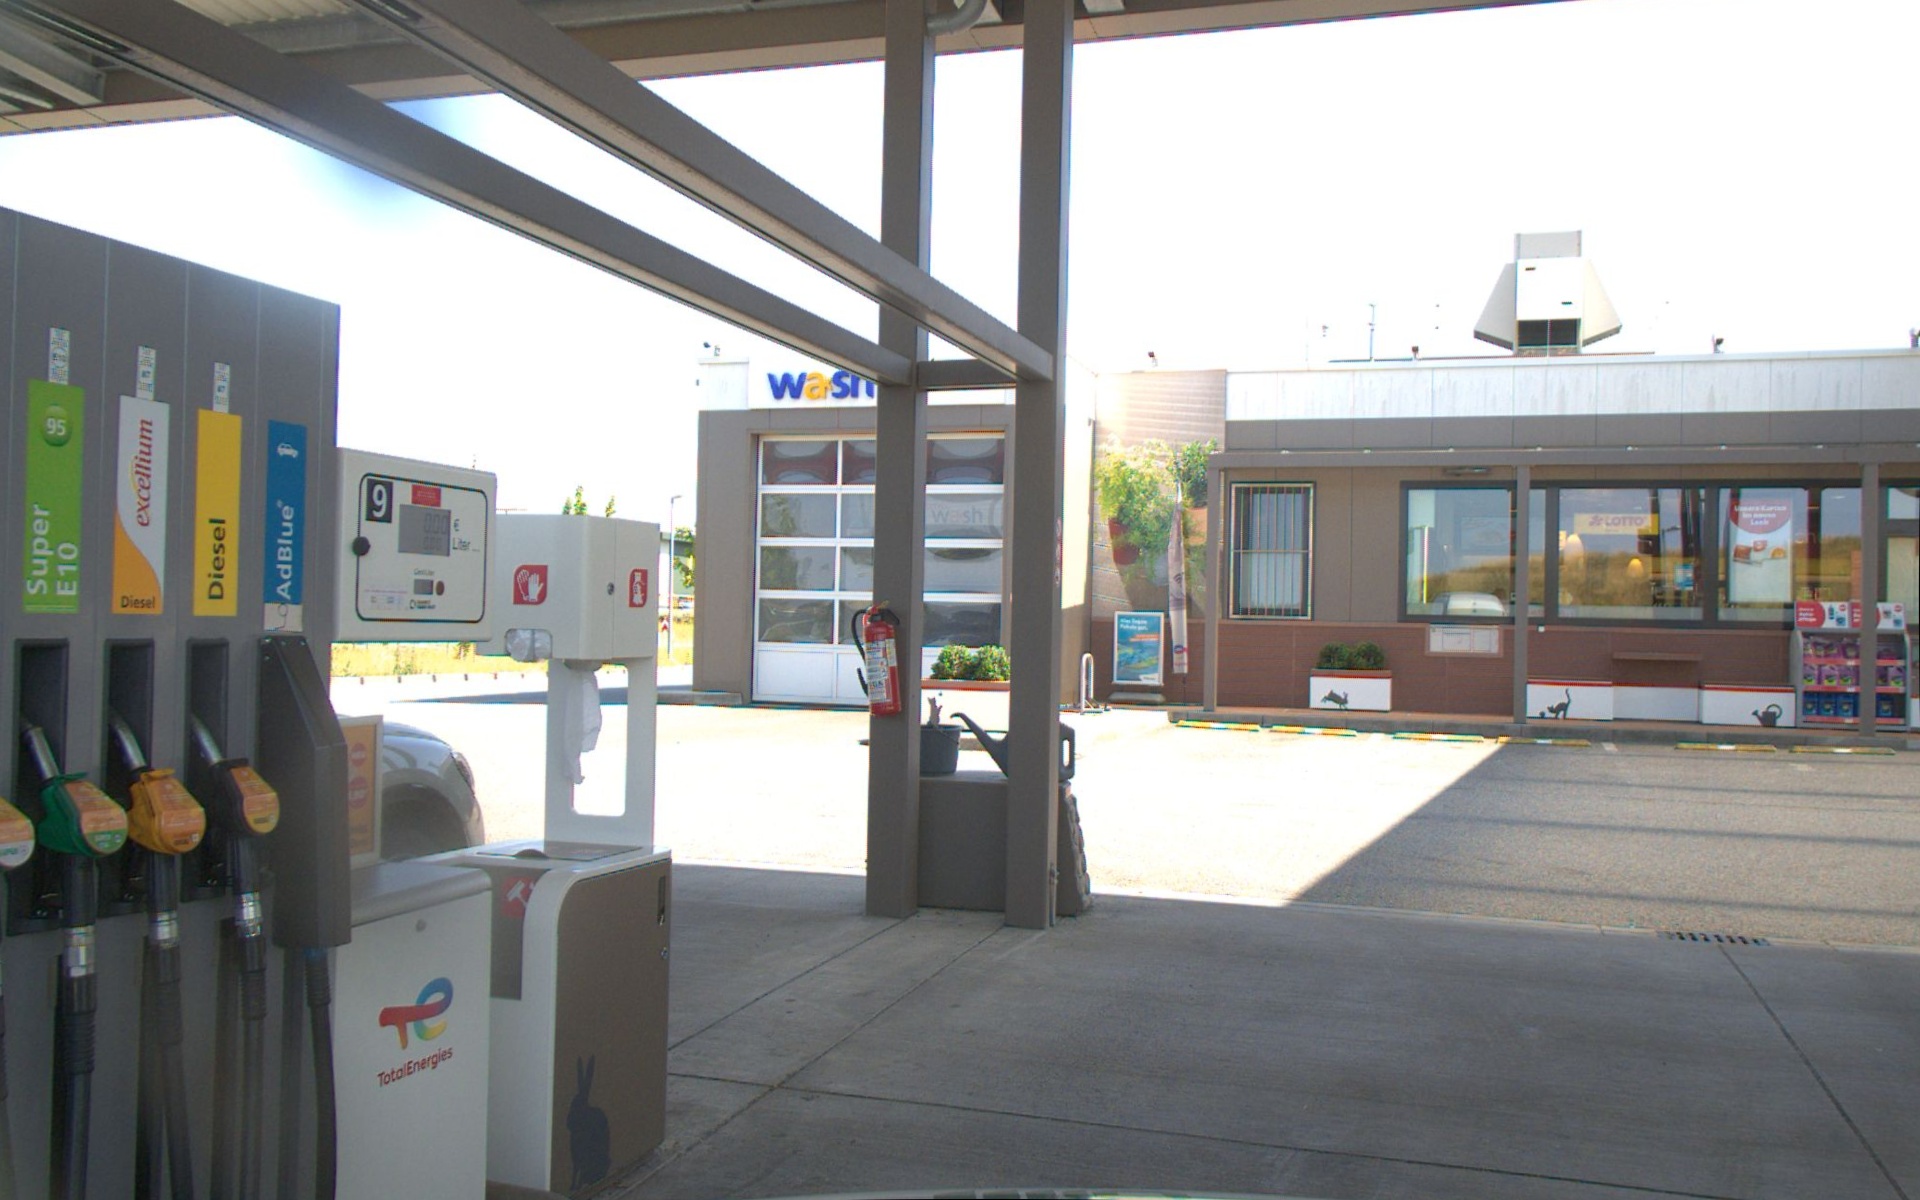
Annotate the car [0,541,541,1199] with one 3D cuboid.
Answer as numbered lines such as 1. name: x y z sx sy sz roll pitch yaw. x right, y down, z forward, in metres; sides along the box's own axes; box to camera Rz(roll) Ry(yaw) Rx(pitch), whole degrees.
1. car: -3.050 0.634 4.326 1.743 1.568 4.327 1 0 18
